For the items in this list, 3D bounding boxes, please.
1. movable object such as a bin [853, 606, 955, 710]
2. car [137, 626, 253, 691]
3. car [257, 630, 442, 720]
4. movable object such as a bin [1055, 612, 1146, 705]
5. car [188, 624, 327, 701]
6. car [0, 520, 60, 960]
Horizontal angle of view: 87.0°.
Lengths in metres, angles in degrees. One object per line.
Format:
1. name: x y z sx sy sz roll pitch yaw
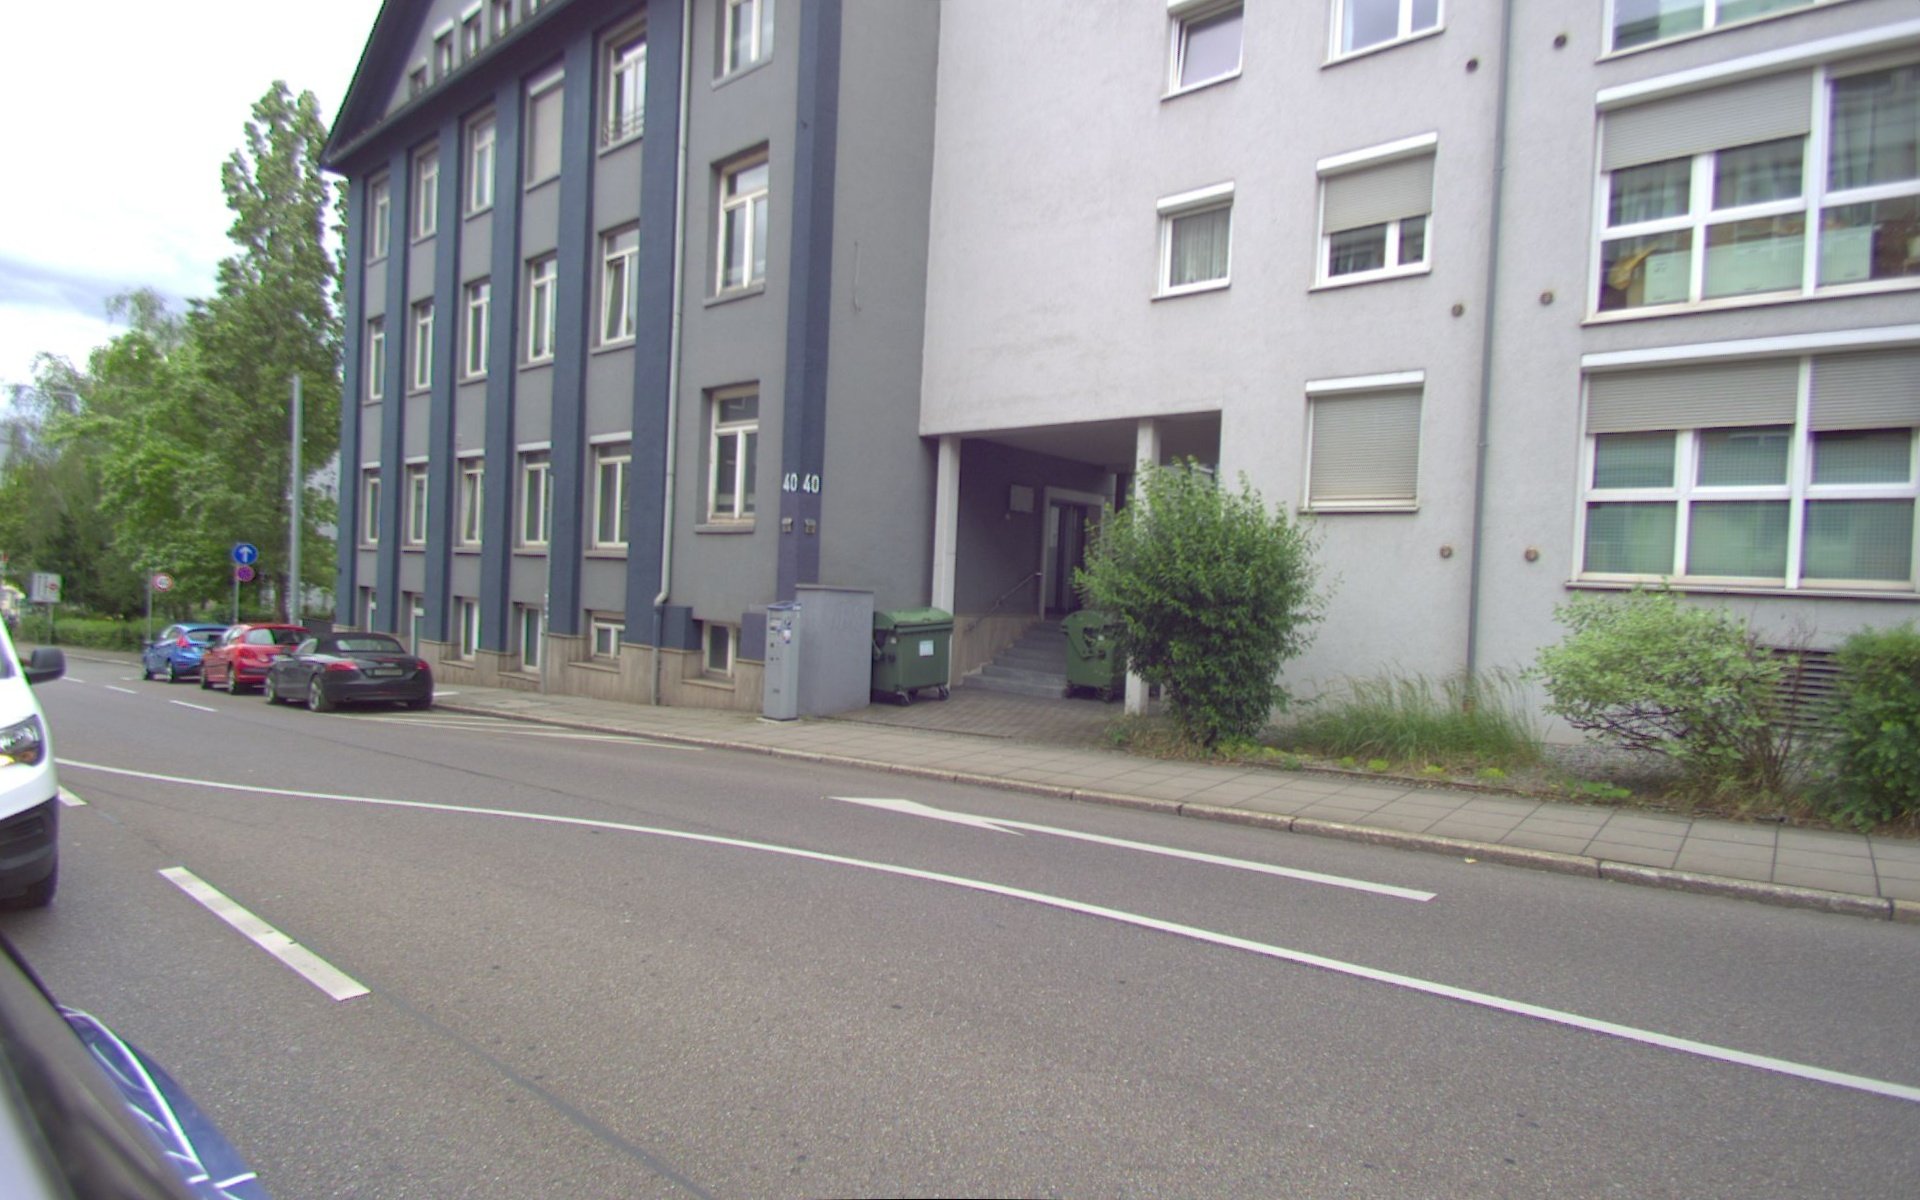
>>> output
1. movable object such as a bin: -0.864 0.858 15.719 1.039 1.518 1.213 -1 0 41
2. car: -19.423 1.415 25.657 3.727 1.460 1.623 -1 0 41
3. car: -10.953 1.255 18.072 3.727 1.403 1.778 -1 -2 41
4. movable object such as a bin: 2.290 0.923 16.499 1.078 1.427 1.026 -1 0 41
5. car: -15.312 1.291 21.999 3.727 1.460 1.623 -1 0 41
6. car: -6.079 0.628 5.184 3.998 1.901 1.716 -1 0 41
